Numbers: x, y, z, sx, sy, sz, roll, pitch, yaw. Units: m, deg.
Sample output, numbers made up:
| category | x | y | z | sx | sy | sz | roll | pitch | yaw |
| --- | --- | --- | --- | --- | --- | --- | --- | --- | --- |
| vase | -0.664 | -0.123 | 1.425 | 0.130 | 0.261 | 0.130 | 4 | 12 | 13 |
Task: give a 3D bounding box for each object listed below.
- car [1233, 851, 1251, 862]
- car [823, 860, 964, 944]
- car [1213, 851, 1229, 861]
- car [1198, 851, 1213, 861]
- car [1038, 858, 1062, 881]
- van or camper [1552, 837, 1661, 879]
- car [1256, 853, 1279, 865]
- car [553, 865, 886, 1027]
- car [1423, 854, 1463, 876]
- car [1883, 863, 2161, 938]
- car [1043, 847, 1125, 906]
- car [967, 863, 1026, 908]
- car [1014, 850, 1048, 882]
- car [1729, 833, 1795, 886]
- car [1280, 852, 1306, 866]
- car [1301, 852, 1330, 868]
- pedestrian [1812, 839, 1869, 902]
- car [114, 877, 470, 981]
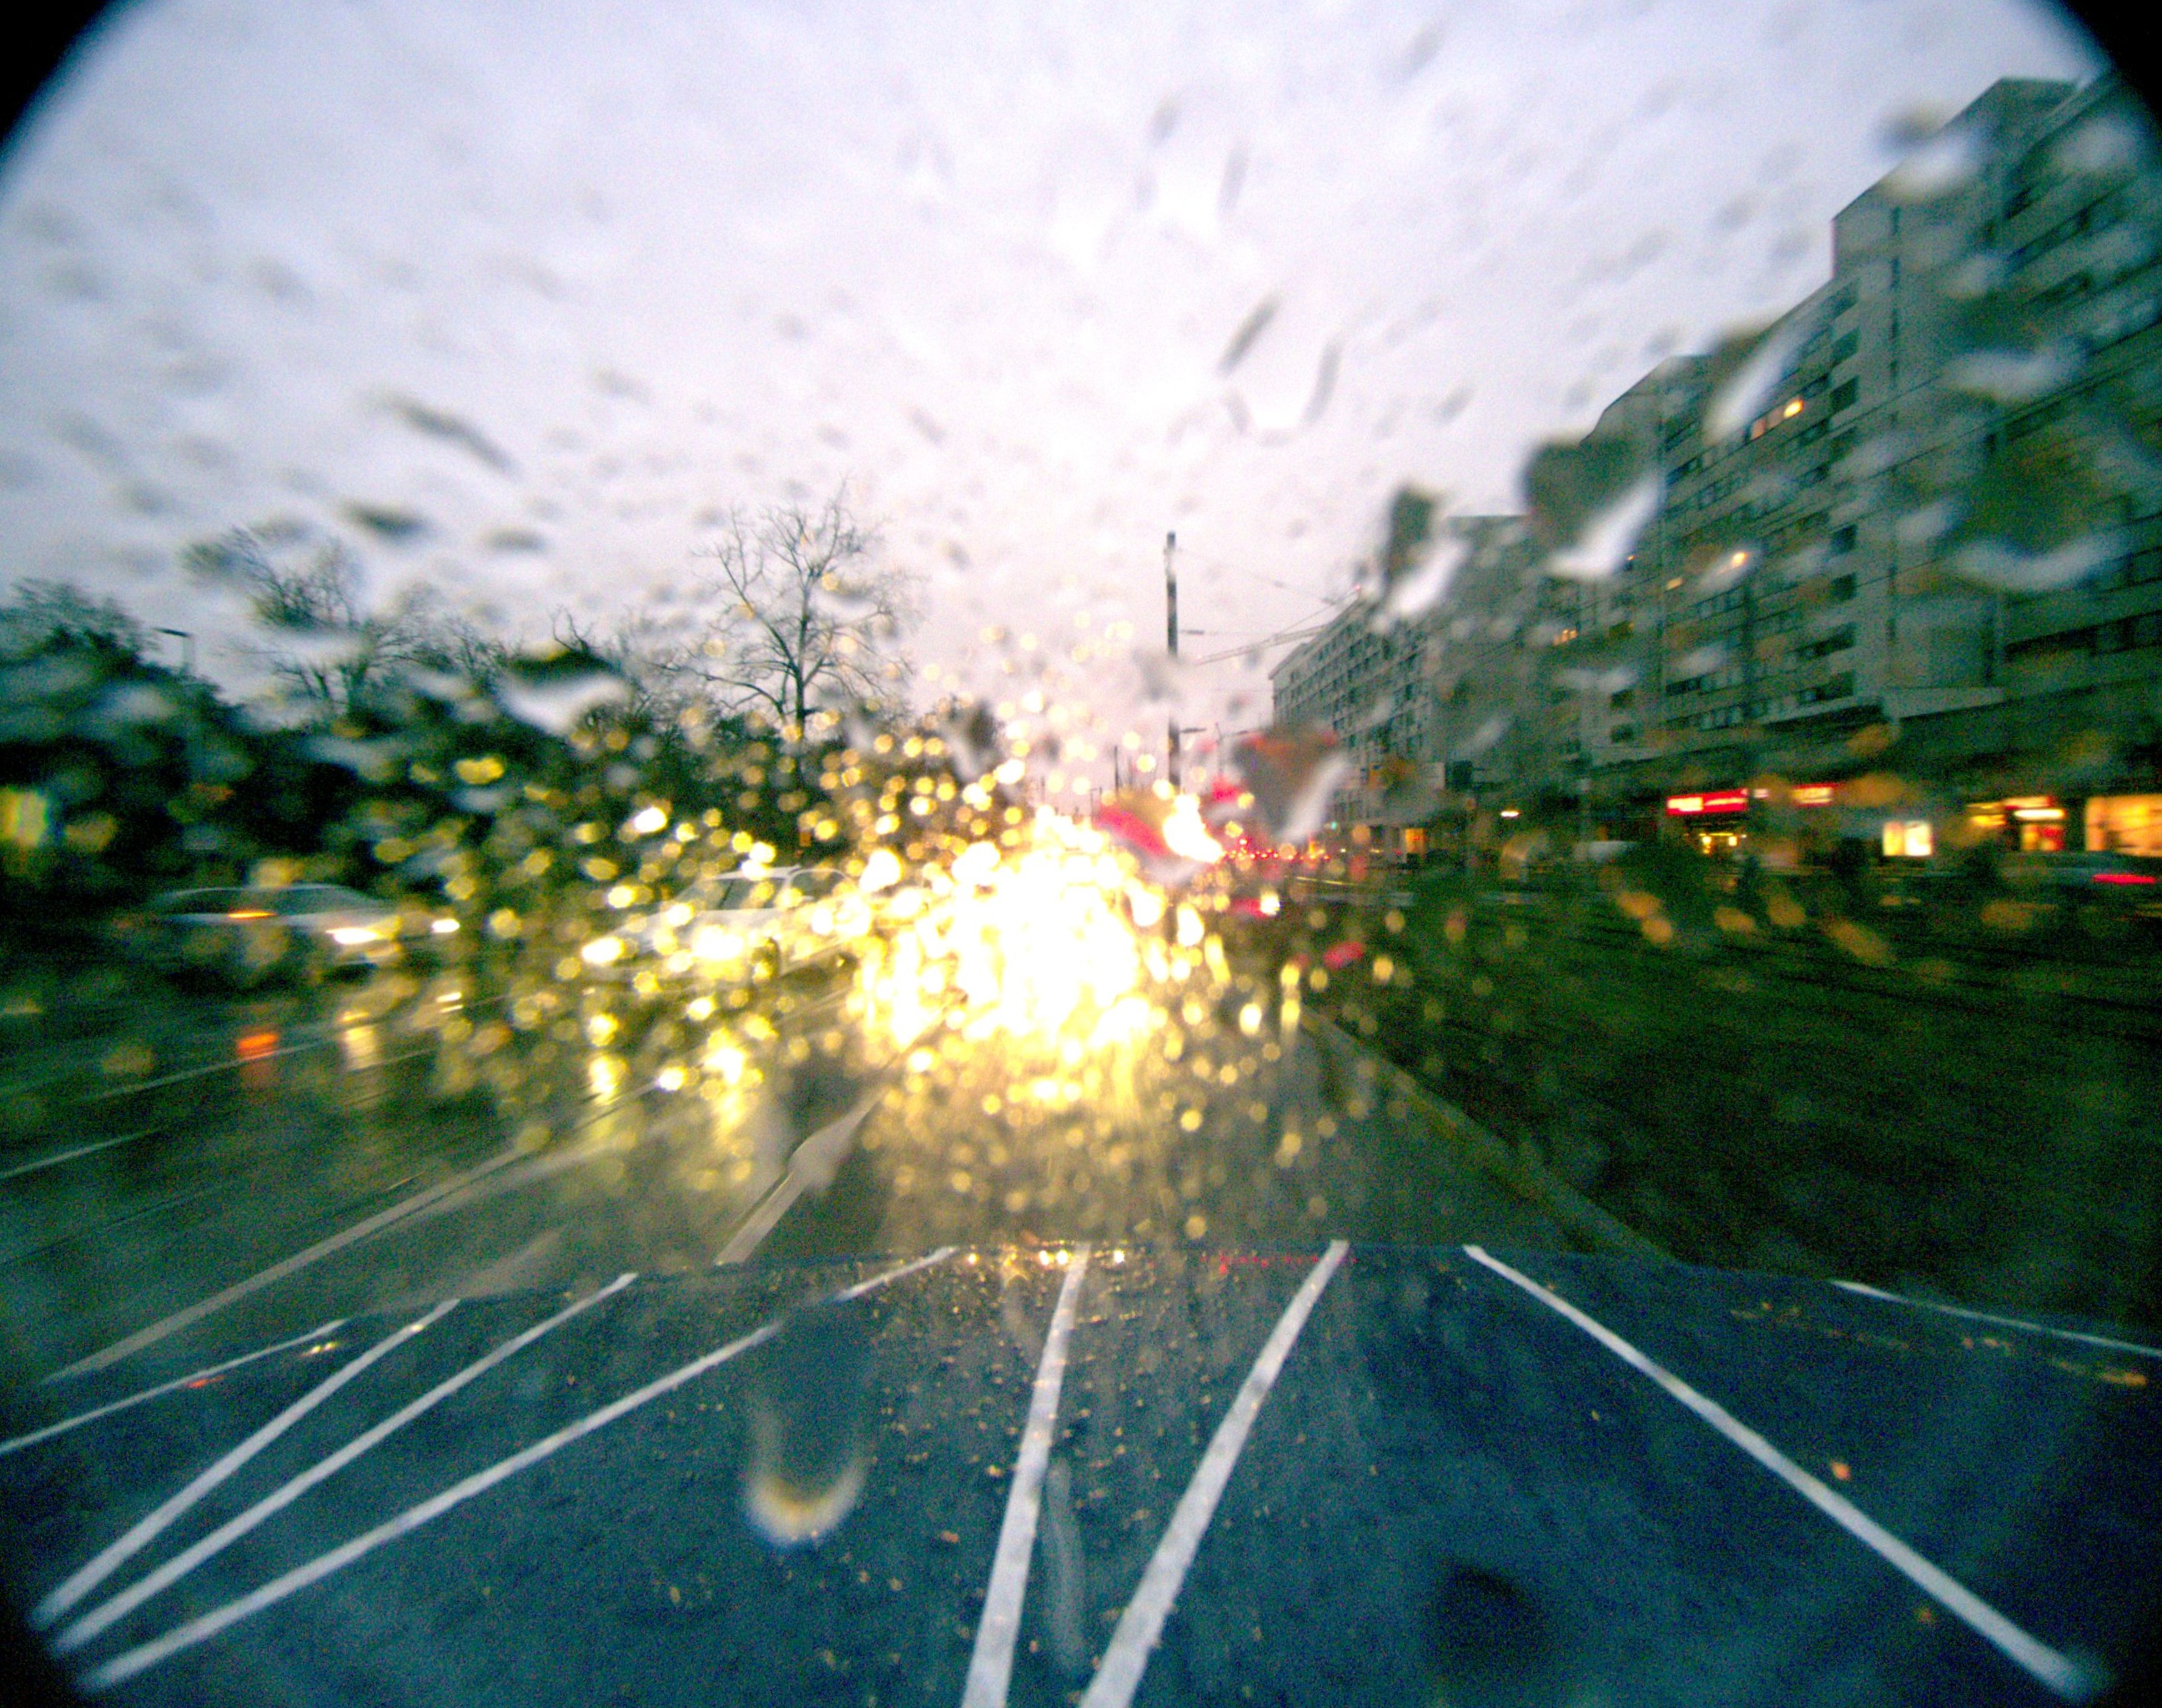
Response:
| category | x | y | z | sx | sy | sz | roll | pitch | yaw |
| --- | --- | --- | --- | --- | --- | --- | --- | --- | --- |
| car | 23.254 | 0.382 | 109.748 | 1.596 | 1.440 | 3.872 | -1 | 1 | -1 |
| car | -3.908 | 0.939 | 16.584 | 1.777 | 1.453 | 4.041 | -1 | 1 | 4 |
| car | 20.819 | 0.283 | 113.019 | 1.596 | 1.440 | 3.872 | -1 | 1 | -1 |
| car | 19.861 | 0.264 | 121.060 | 1.596 | 1.440 | 3.872 | -1 | 1 | -1 |
| car | -2.480 | 1.212 | 61.612 | 1.679 | 1.670 | 3.864 | -1 | 1 | 0 |
| van or camper | 28.435 | 0.208 | 41.387 | 1.998 | 2.085 | 5.653 | -1 | 0 | 0 |
| car | 23.228 | 0.612 | 94.799 | 1.754 | 1.440 | 3.872 | -1 | 1 | -1 |
| car | -4.356 | 0.985 | 10.270 | 1.791 | 1.493 | 4.968 | -2 | 1 | 4 |
| car | 29.375 | 0.858 | 61.660 | 3.785 | 1.609 | 1.676 | -2 | 1 | -44 |
| car | 24.342 | 1.083 | 19.655 | 1.999 | 1.536 | 4.701 | -1 | 1 | -6 |
| car | 0.079 | 0.595 | 22.337 | 2.160 | 1.490 | 4.006 | -1 | 1 | 0 |
| car | -3.323 | 1.199 | 30.506 | 1.881 | 1.490 | 4.076 | -1 | 1 | 0 |
| car | -2.878 | 0.655 | 44.235 | 1.679 | 1.739 | 3.864 | -1 | 1 | 0 |
| car | 29.396 | 0.208 | 32.783 | 1.994 | 2.002 | 4.581 | -1 | 2 | 43 |
| car | 23.565 | 0.536 | 84.656 | 1.754 | 1.503 | 3.889 | -1 | 1 | -1 |
| car | 23.295 | 0.594 | 75.616 | 1.677 | 1.440 | 3.766 | -1 | 1 | -1 |
| pedestrian | 18.435 | 0.390 | 18.454 | 0.792 | 1.481 | 0.630 | -1 | 1 | -8 |
| car | -13.013 | 1.193 | 12.656 | 4.510 | 1.480 | 1.883 | -1 | 1 | 10 |
